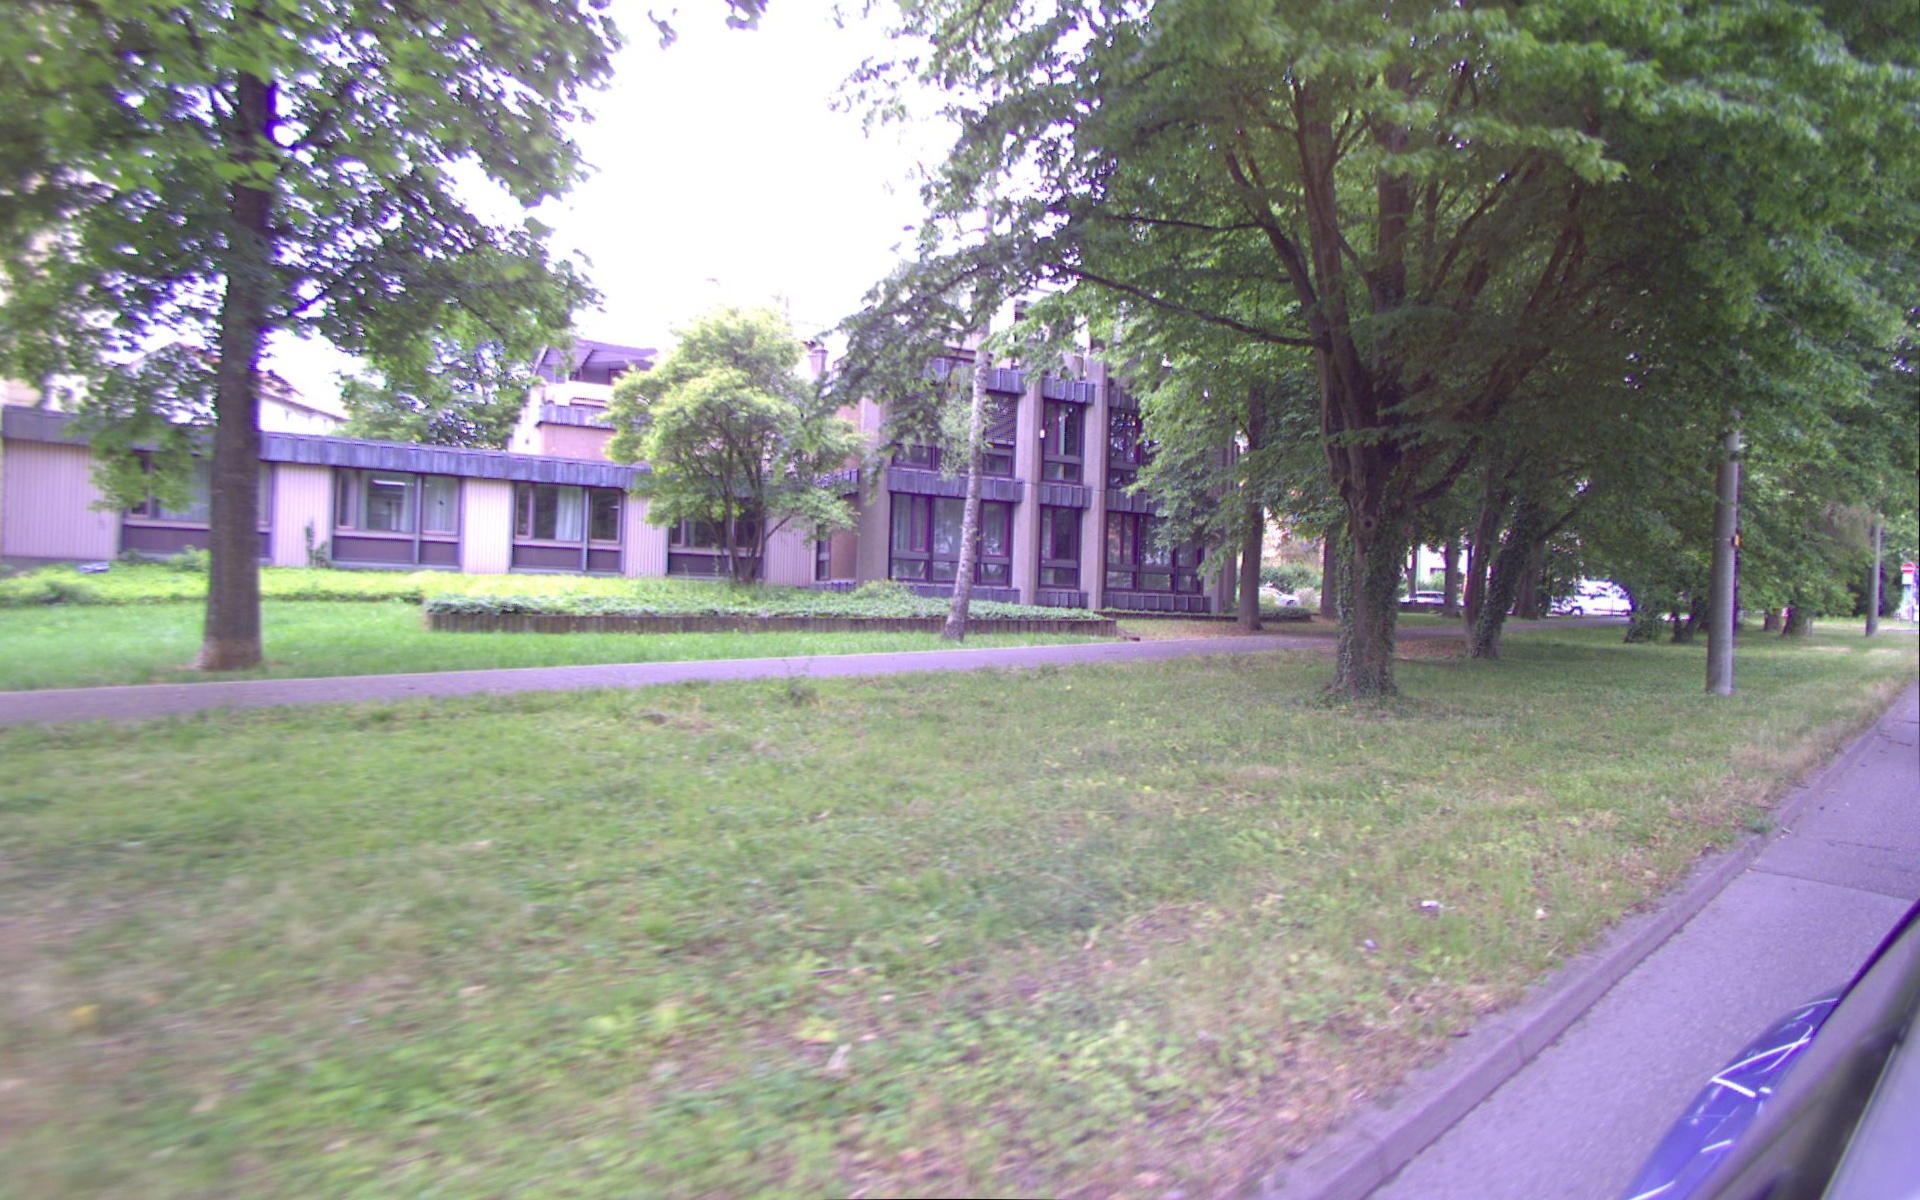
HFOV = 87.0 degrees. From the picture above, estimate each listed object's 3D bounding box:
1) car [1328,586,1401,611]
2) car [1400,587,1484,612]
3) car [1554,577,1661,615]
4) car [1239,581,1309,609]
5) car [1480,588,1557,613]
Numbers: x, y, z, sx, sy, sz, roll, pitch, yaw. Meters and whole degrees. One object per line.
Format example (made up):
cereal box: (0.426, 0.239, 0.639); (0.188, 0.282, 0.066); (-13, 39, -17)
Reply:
car: (26.296, -0.120, 65.852); (3.922, 1.529, 1.801); (1, 0, -2)
car: (31.163, -0.045, 65.550); (4.516, 1.529, 1.800); (1, 0, 0)
car: (41.445, -0.264, 64.923); (5.245, 2.328, 2.284); (1, 0, 13)
car: (20.257, -0.331, 65.396); (3.922, 1.695, 1.801); (1, 0, -2)
car: (36.121, 0.037, 65.529); (3.930, 1.529, 1.797); (1, 0, 6)
